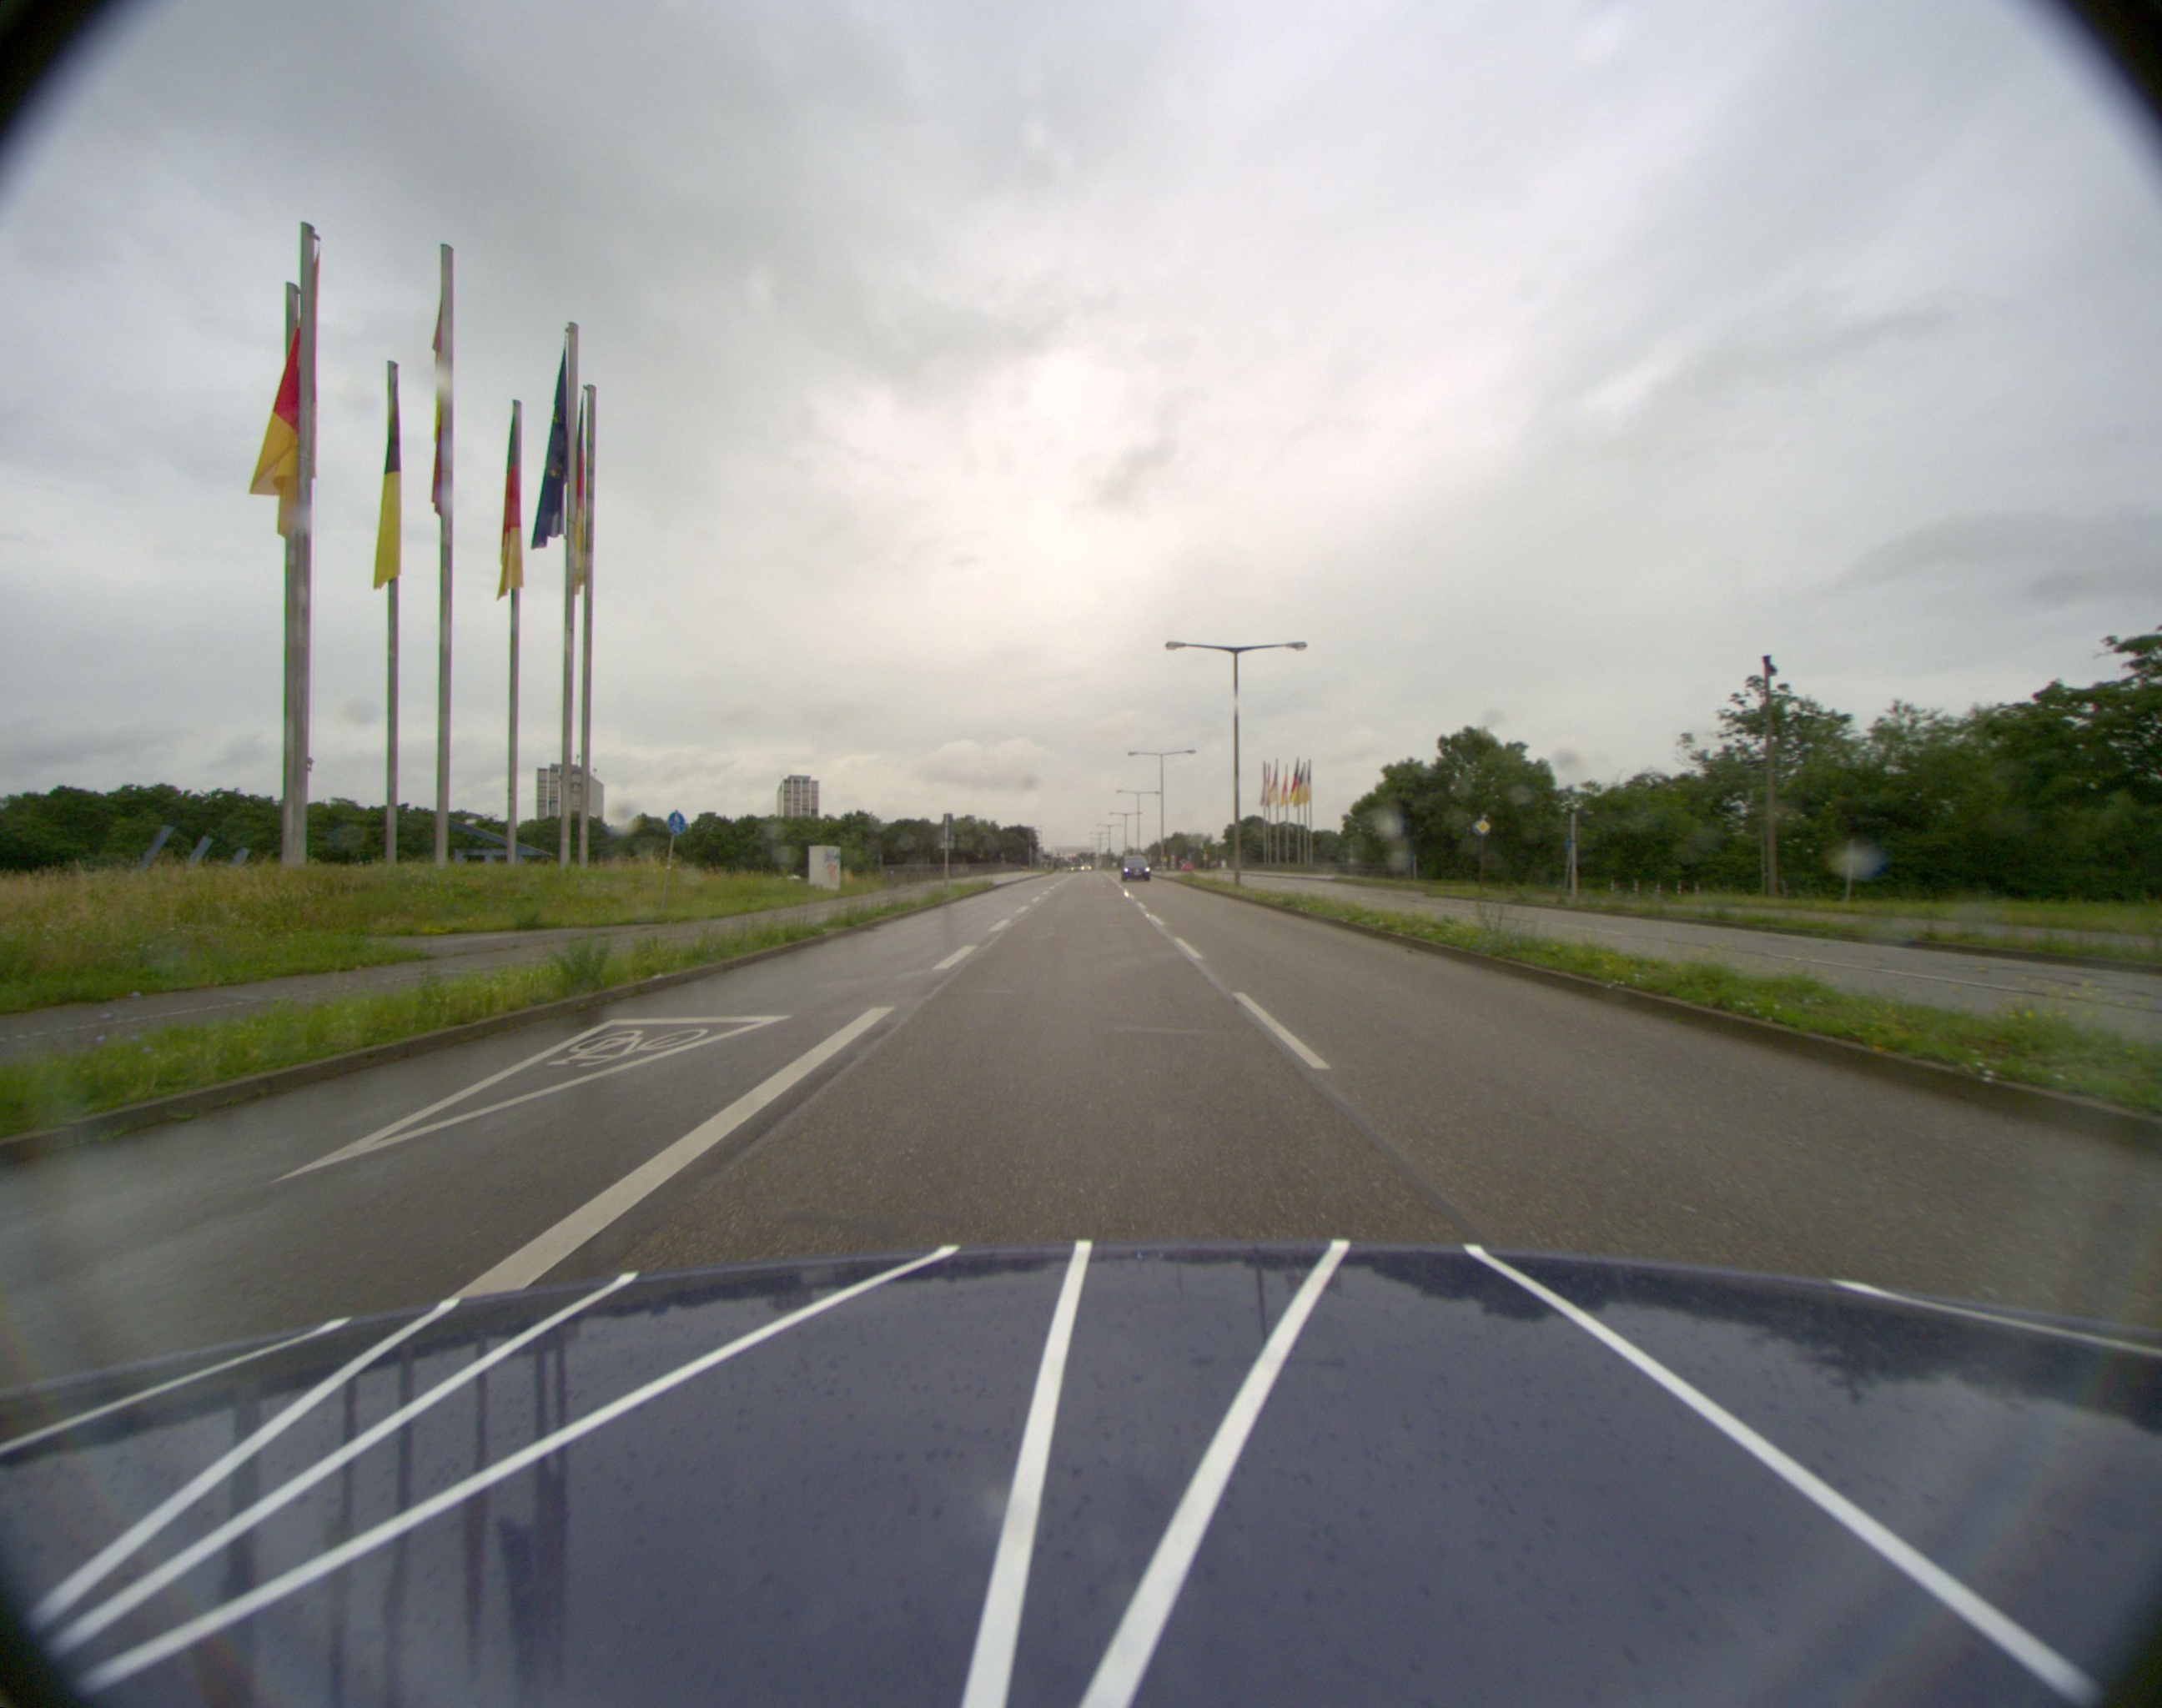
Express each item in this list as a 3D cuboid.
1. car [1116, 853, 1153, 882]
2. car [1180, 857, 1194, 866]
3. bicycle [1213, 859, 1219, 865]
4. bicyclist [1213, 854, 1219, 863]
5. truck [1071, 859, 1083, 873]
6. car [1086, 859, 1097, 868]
[{"bbox_3d":[3.647,0.880,52.517,1.851,1.741,4.814,-3,2,-3],"label":"car"},{"bbox_3d":[16.591,1.177,118.851,1.664,1.440,3.557,2,0,1],"label":"car"},{"bbox_3d":[21.320,1.265,119.836,0.611,1.027,2.001,-2,0,1],"label":"bicycle"},{"bbox_3d":[21.297,0.732,119.831,0.621,1.491,1.003,-2,0,1],"label":"bicyclist"},{"bbox_3d":[-0.997,2.922,189.974,2.860,3.196,8.096,-1,0,-1],"label":"truck"},{"bbox_3d":[1.934,1.853,145.681,1.999,1.700,3.999,-1,0,-1],"label":"car"}]
